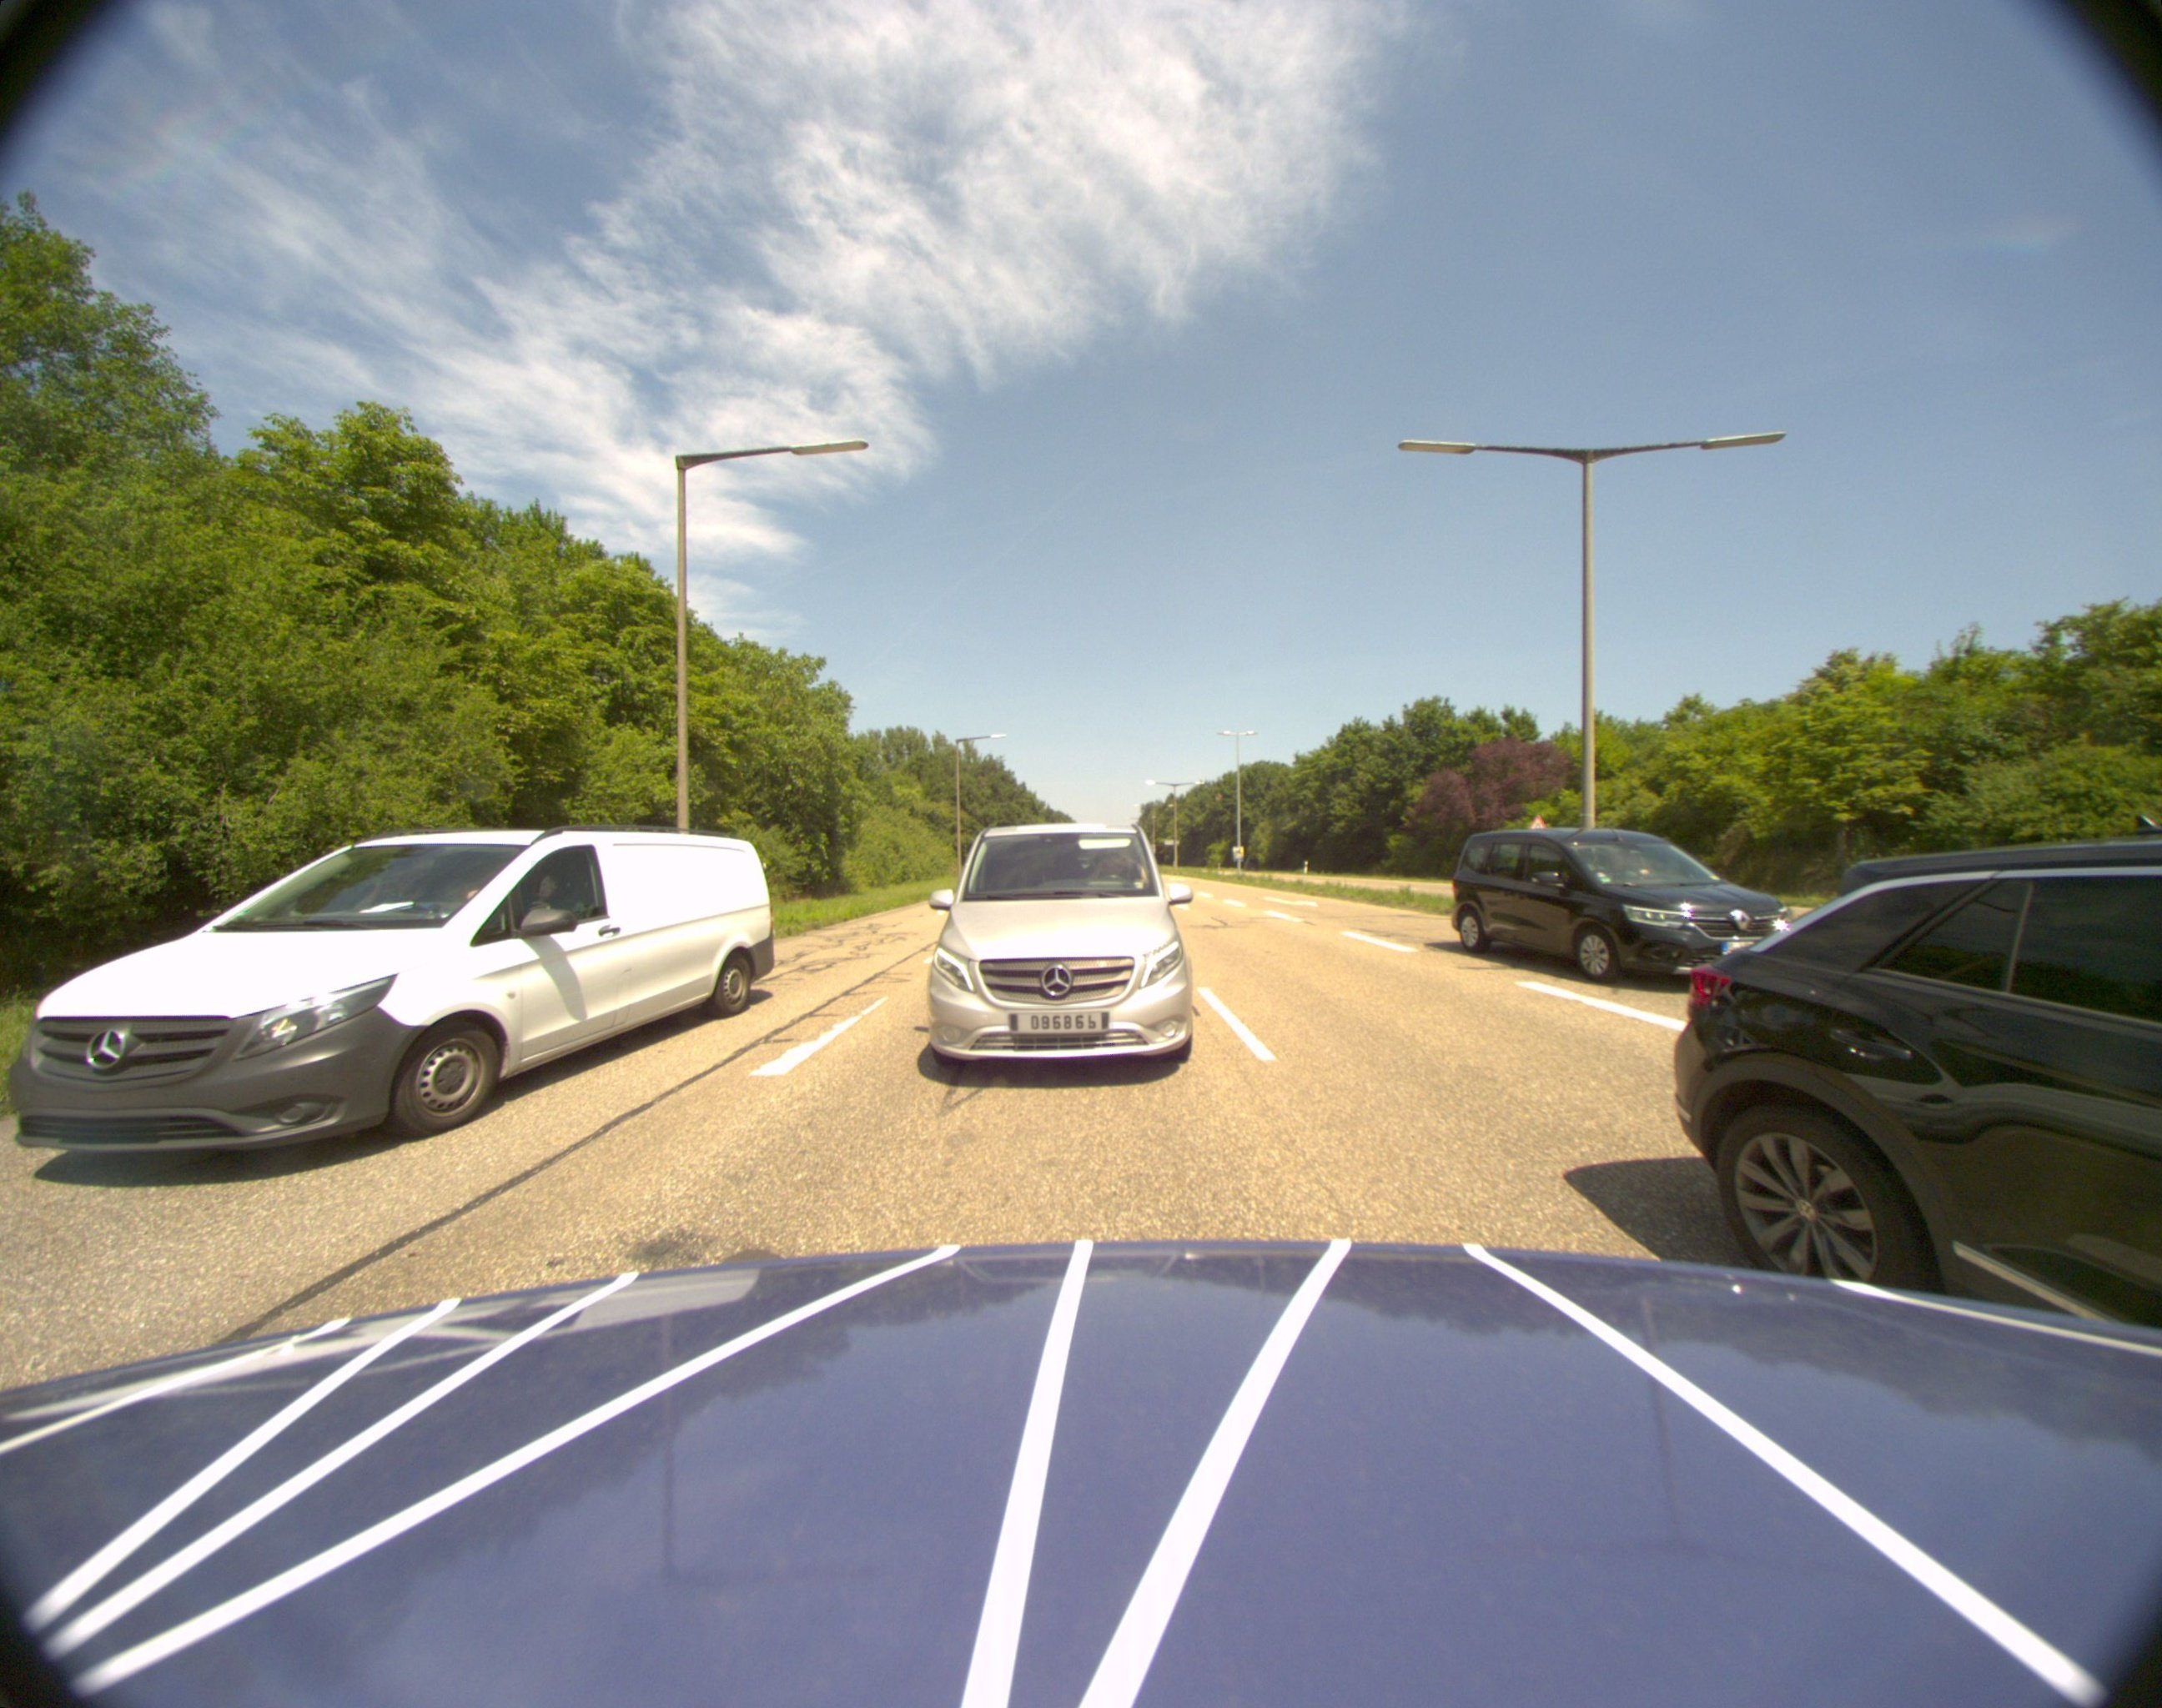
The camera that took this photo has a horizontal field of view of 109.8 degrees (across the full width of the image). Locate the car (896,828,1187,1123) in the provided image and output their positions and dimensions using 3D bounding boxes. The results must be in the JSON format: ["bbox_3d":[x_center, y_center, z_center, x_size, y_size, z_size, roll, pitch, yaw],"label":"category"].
[{"bbox_3d":[-0.216,0.764,7.195,1.764,1.794,4.855,-2,0,1],"label":"car"}]

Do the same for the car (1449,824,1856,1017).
[{"bbox_3d":[6.510,0.638,9.420,1.736,1.815,4.321,-1,0,-1],"label":"car"}]

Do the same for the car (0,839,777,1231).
[{"bbox_3d":[-4.455,0.850,5.994,1.864,1.807,4.909,-1,0,4],"label":"car"}]

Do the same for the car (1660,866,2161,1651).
[{"bbox_3d":[3.035,0.850,0.864,1.739,1.503,3.970,-2,1,1],"label":"car"}]
